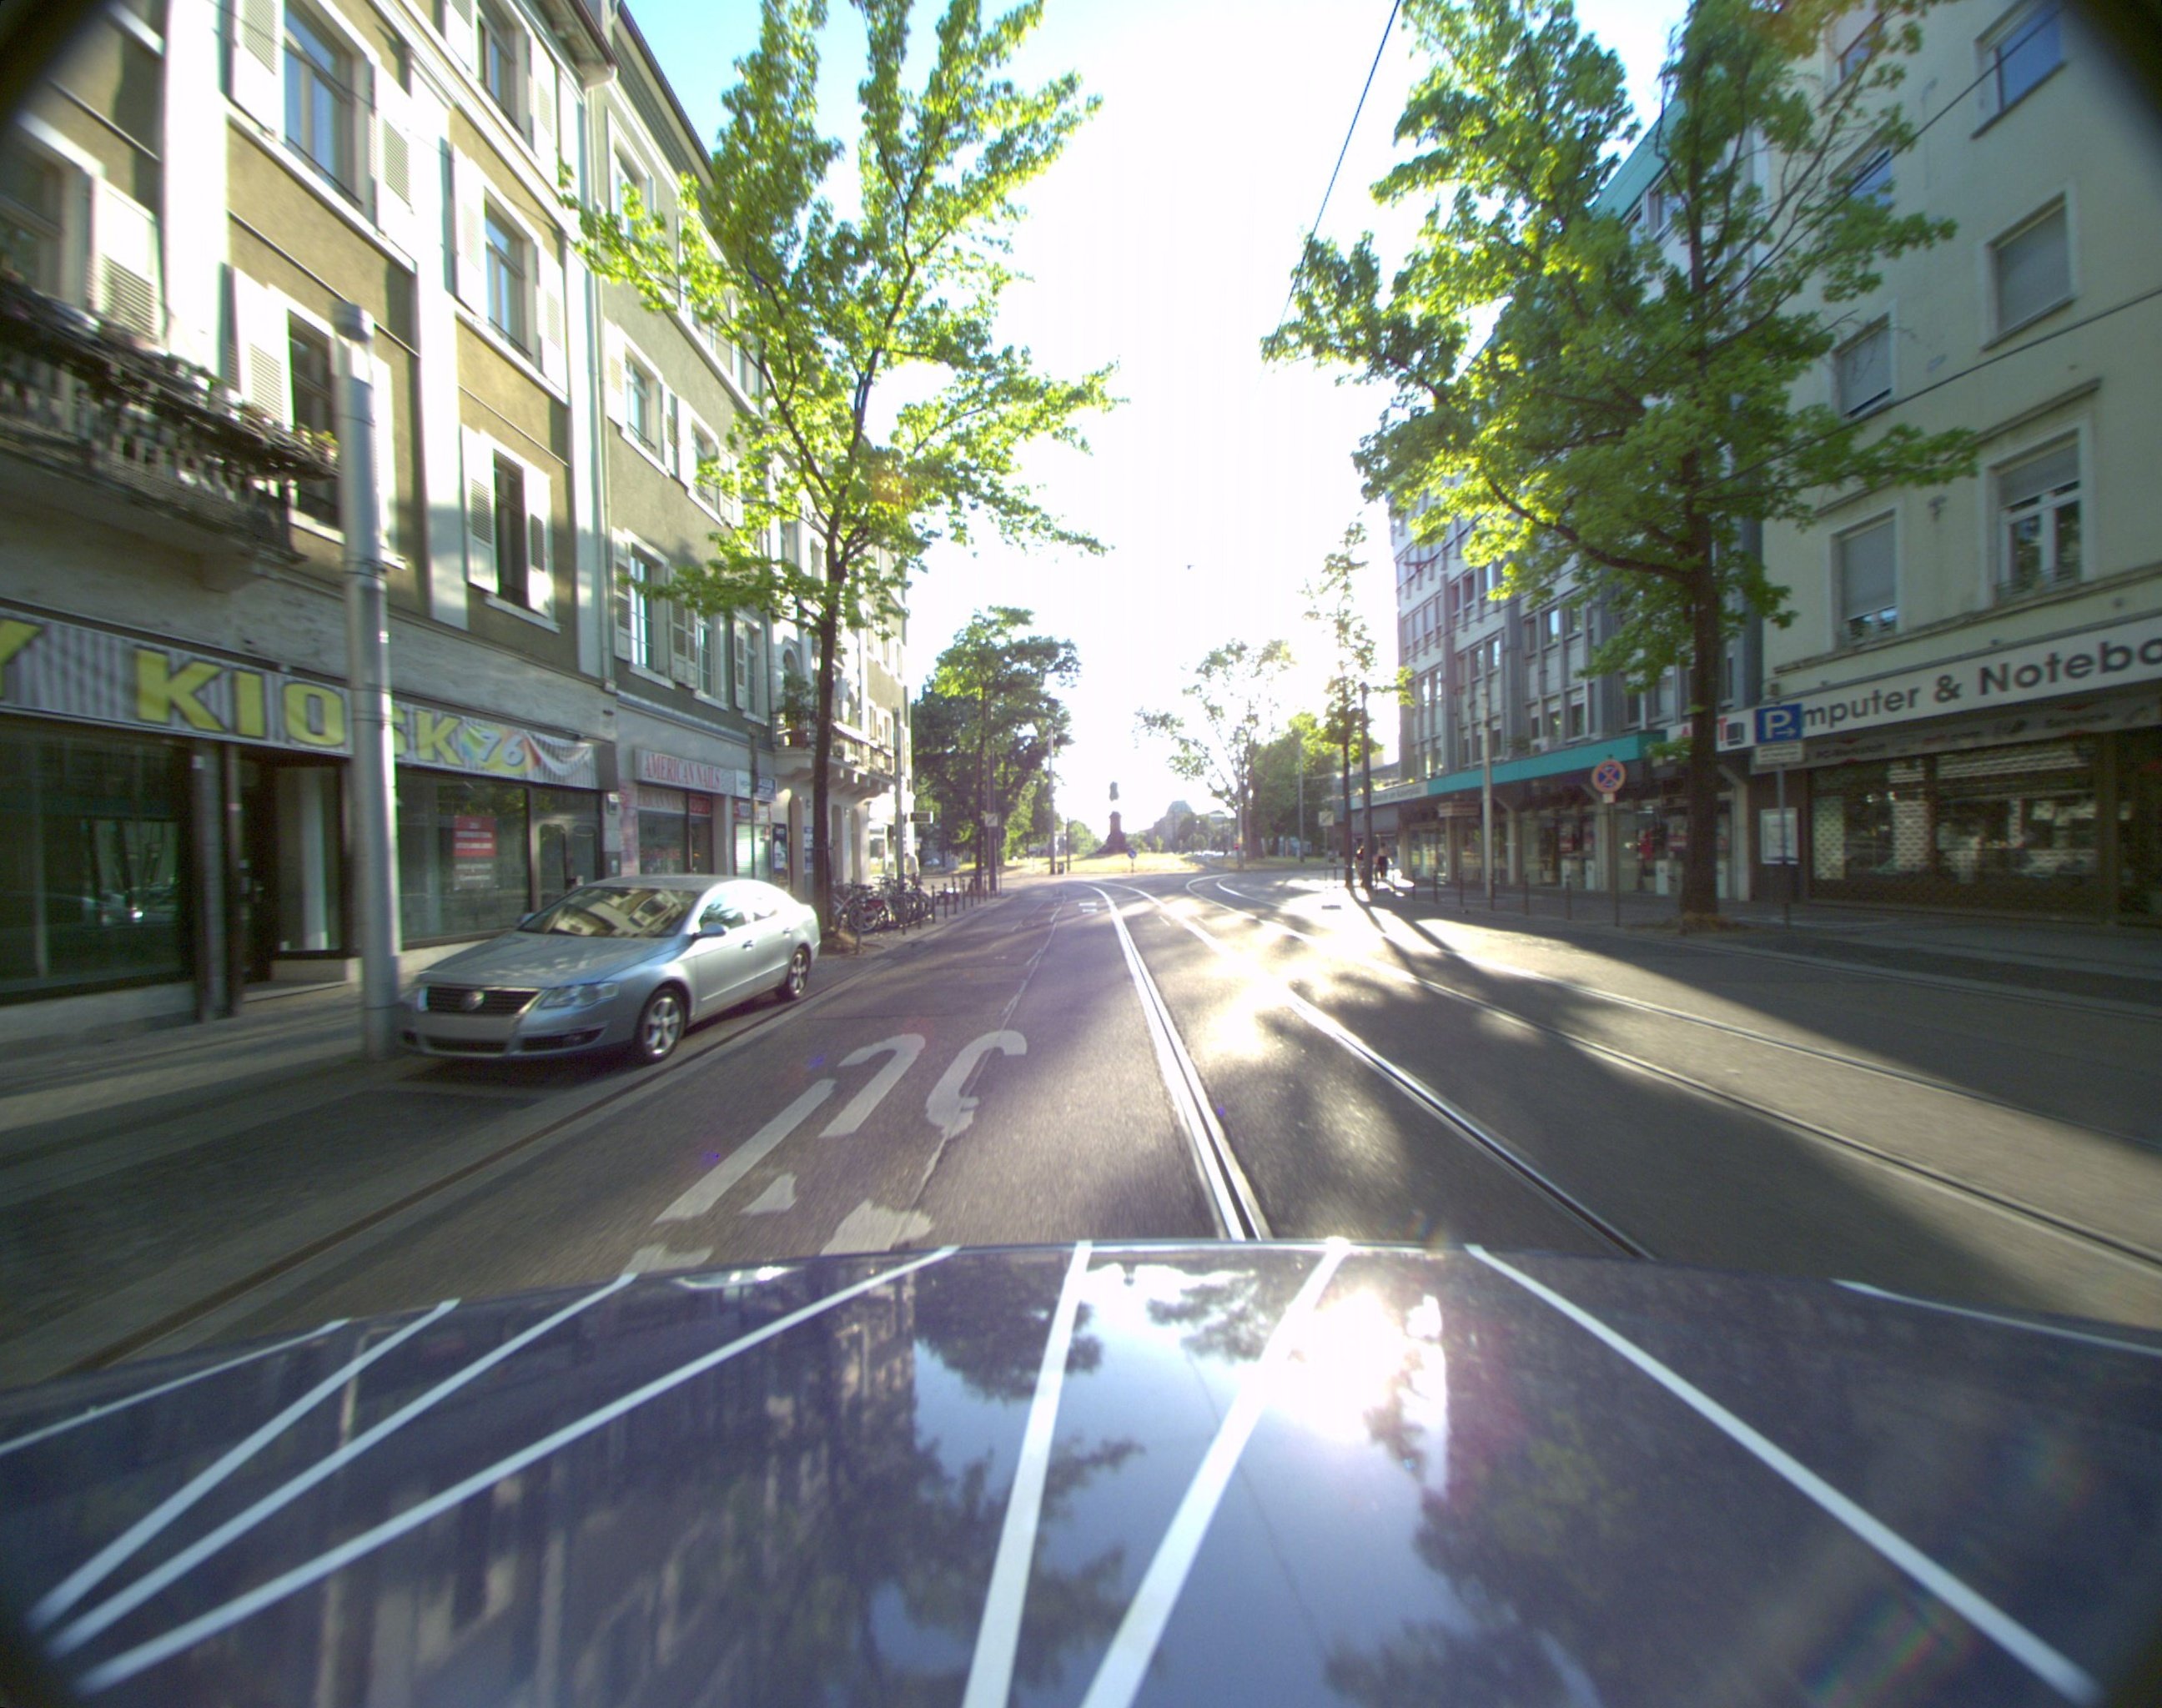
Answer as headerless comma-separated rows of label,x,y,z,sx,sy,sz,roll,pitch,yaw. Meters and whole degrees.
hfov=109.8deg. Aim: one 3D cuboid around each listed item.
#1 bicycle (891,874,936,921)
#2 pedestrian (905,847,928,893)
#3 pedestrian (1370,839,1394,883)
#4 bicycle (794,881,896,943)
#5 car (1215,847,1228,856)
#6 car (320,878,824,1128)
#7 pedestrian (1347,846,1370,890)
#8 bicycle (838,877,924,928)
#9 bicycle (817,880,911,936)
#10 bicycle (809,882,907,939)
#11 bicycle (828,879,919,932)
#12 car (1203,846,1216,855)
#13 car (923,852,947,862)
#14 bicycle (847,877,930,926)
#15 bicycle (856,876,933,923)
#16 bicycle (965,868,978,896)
bicycle,-4.470,1.132,20.225,0.462,1.148,1.677,-2,1,-39
pedestrian,-7.297,0.702,33.751,0.847,2.002,0.842,-1,1,-20
pedestrian,13.840,0.305,34.943,0.798,2.002,0.734,-1,1,2
bicycle,-4.777,1.165,15.406,1.870,1.148,0.562,2,1,3
car,29.372,-0.525,159.064,1.998,2.002,4.000,0,1,2
car,-4.190,1.076,7.336,1.780,1.432,4.422,2,1,1
pedestrian,12.845,0.616,35.179,0.798,2.002,0.734,-1,1,2
bicycle,-4.719,1.148,18.016,1.870,1.148,0.562,-1,1,3
bicycle,-4.748,1.177,16.668,1.870,1.148,0.562,-1,1,3
bicycle,-4.704,1.183,16.068,1.870,1.148,0.562,-1,1,3
bicycle,-4.707,1.169,17.285,1.870,1.148,0.562,-1,1,3
car,28.737,-0.751,170.134,1.999,2.002,4.547,-1,0,-1
car,-27.060,0.529,141.070,1.995,1.596,4.531,-1,1,28
bicycle,-4.707,1.164,18.653,1.870,1.148,0.562,-1,1,3
bicycle,-4.719,1.143,19.254,1.870,1.148,0.348,-1,1,3
bicycle,-4.471,1.128,31.096,0.355,1.070,1.698,-1,1,-2
